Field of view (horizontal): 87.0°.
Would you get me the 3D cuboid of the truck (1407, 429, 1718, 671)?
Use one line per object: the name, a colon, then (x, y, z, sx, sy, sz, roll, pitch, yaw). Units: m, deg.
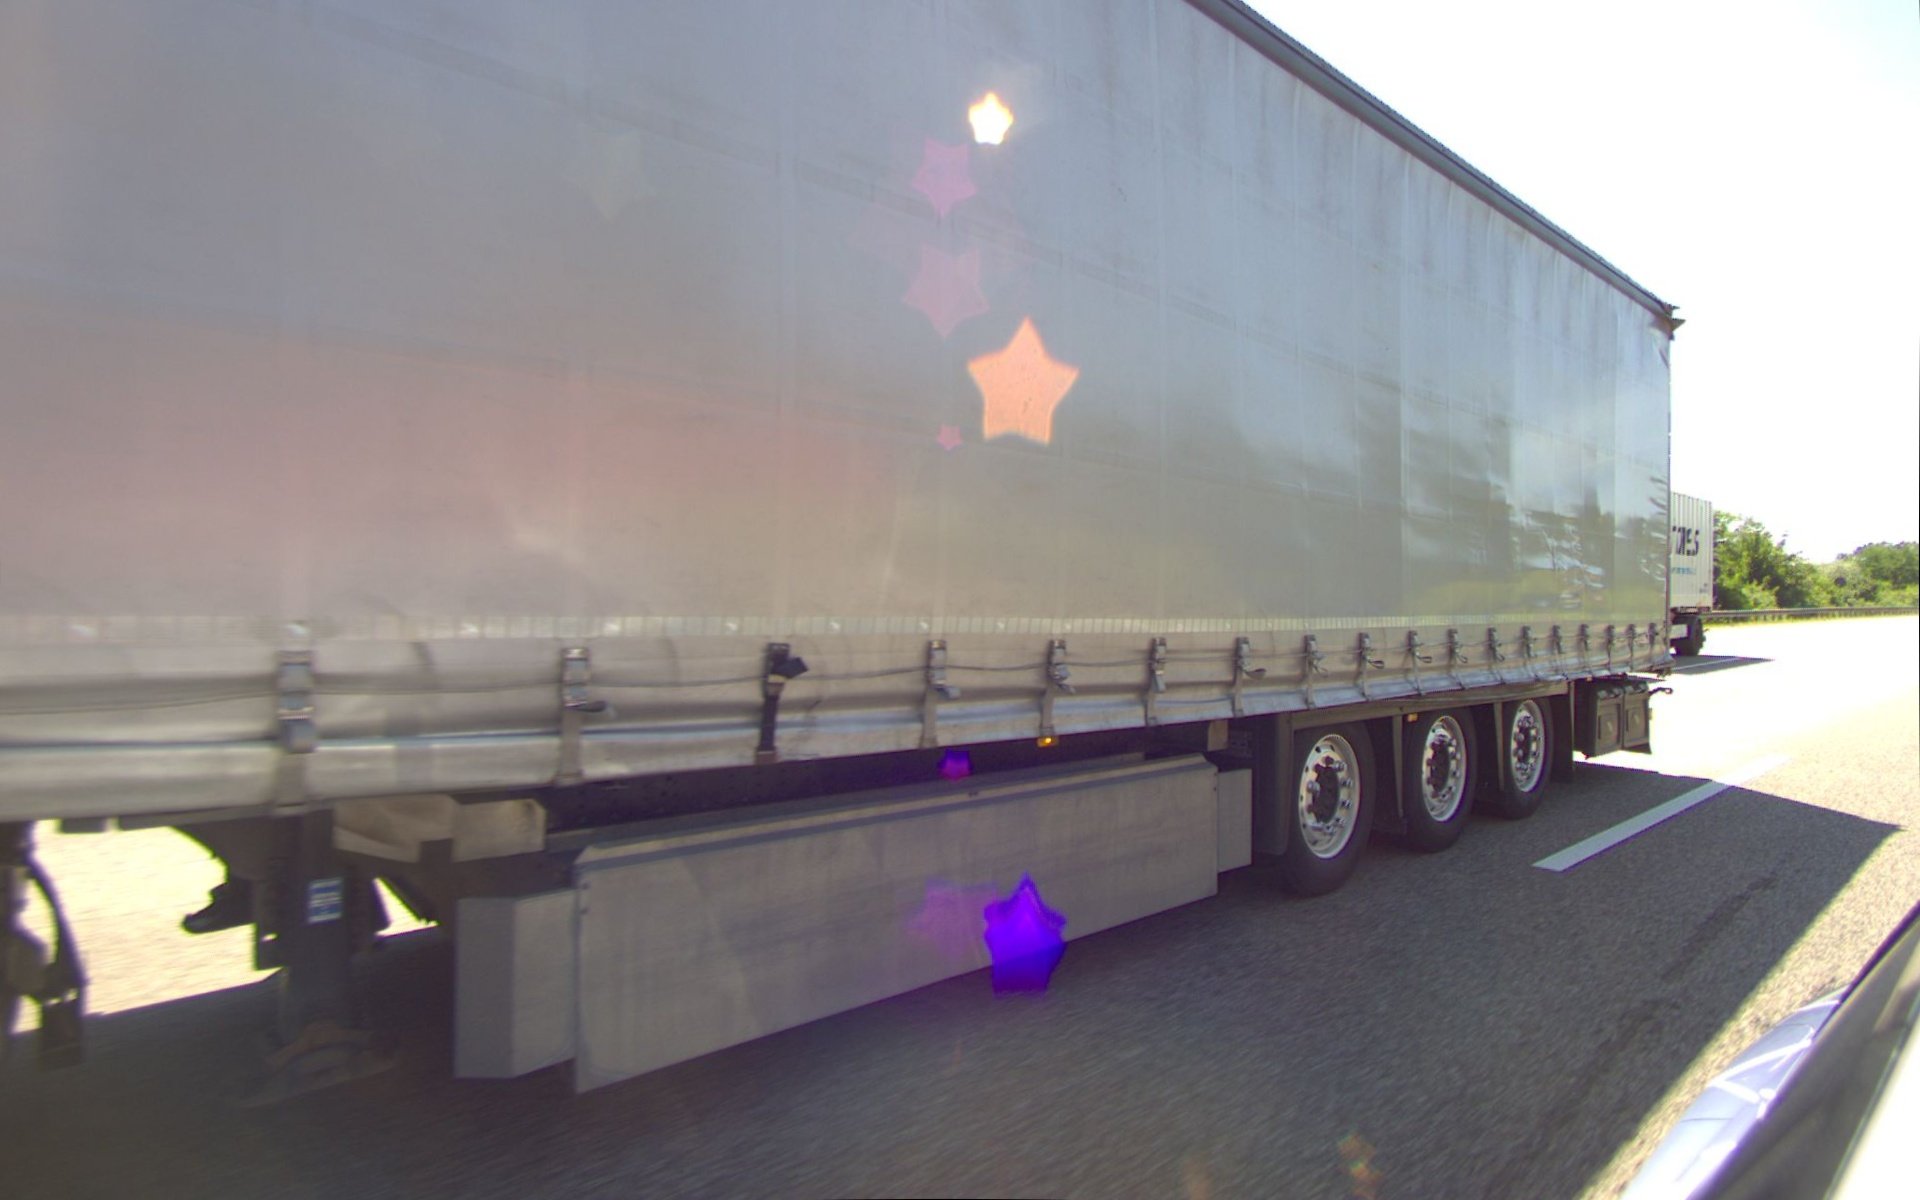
truck: (13.410, -0.905, 21.892, 10.480, 4.182, 2.531, 0, 0, -40)

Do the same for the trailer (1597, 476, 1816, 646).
trailer: (21.615, -0.980, 28.924, 11.064, 4.111, 2.560, 0, 0, -40)

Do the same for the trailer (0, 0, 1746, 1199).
trailer: (1.726, -0.670, 6.429, 13.418, 4.025, 2.744, 0, 0, -42)
